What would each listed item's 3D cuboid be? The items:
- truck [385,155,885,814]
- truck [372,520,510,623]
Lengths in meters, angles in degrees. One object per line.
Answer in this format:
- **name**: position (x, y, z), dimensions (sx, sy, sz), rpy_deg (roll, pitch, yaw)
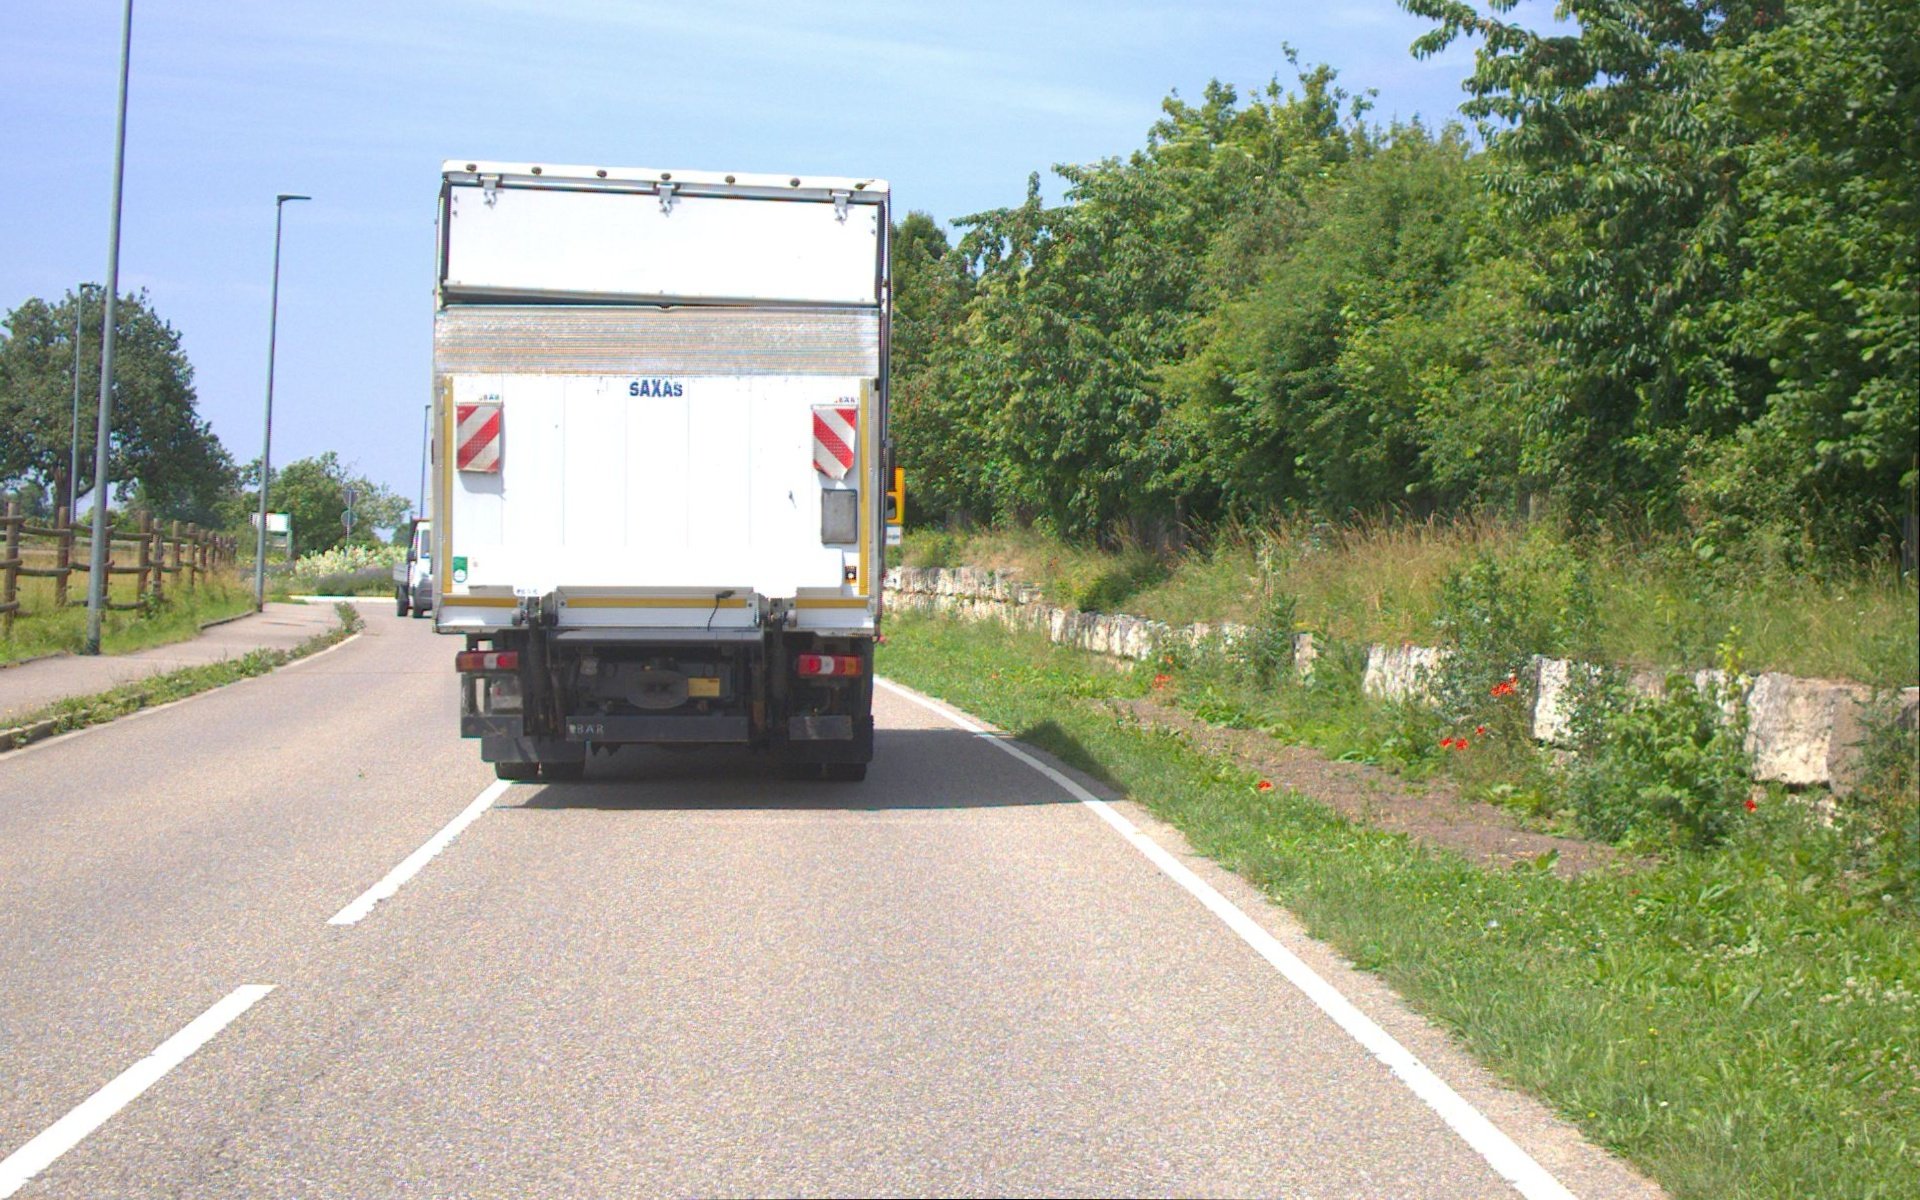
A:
- **truck**: position (-1.927, -0.705, 23.880), dimensions (2.766, 3.658, 9.383), rpy_deg (0, 1, -1)
- **truck**: position (-12.279, -0.675, 80.992), dimensions (2.221, 2.285, 6.494), rpy_deg (1, 0, -17)
